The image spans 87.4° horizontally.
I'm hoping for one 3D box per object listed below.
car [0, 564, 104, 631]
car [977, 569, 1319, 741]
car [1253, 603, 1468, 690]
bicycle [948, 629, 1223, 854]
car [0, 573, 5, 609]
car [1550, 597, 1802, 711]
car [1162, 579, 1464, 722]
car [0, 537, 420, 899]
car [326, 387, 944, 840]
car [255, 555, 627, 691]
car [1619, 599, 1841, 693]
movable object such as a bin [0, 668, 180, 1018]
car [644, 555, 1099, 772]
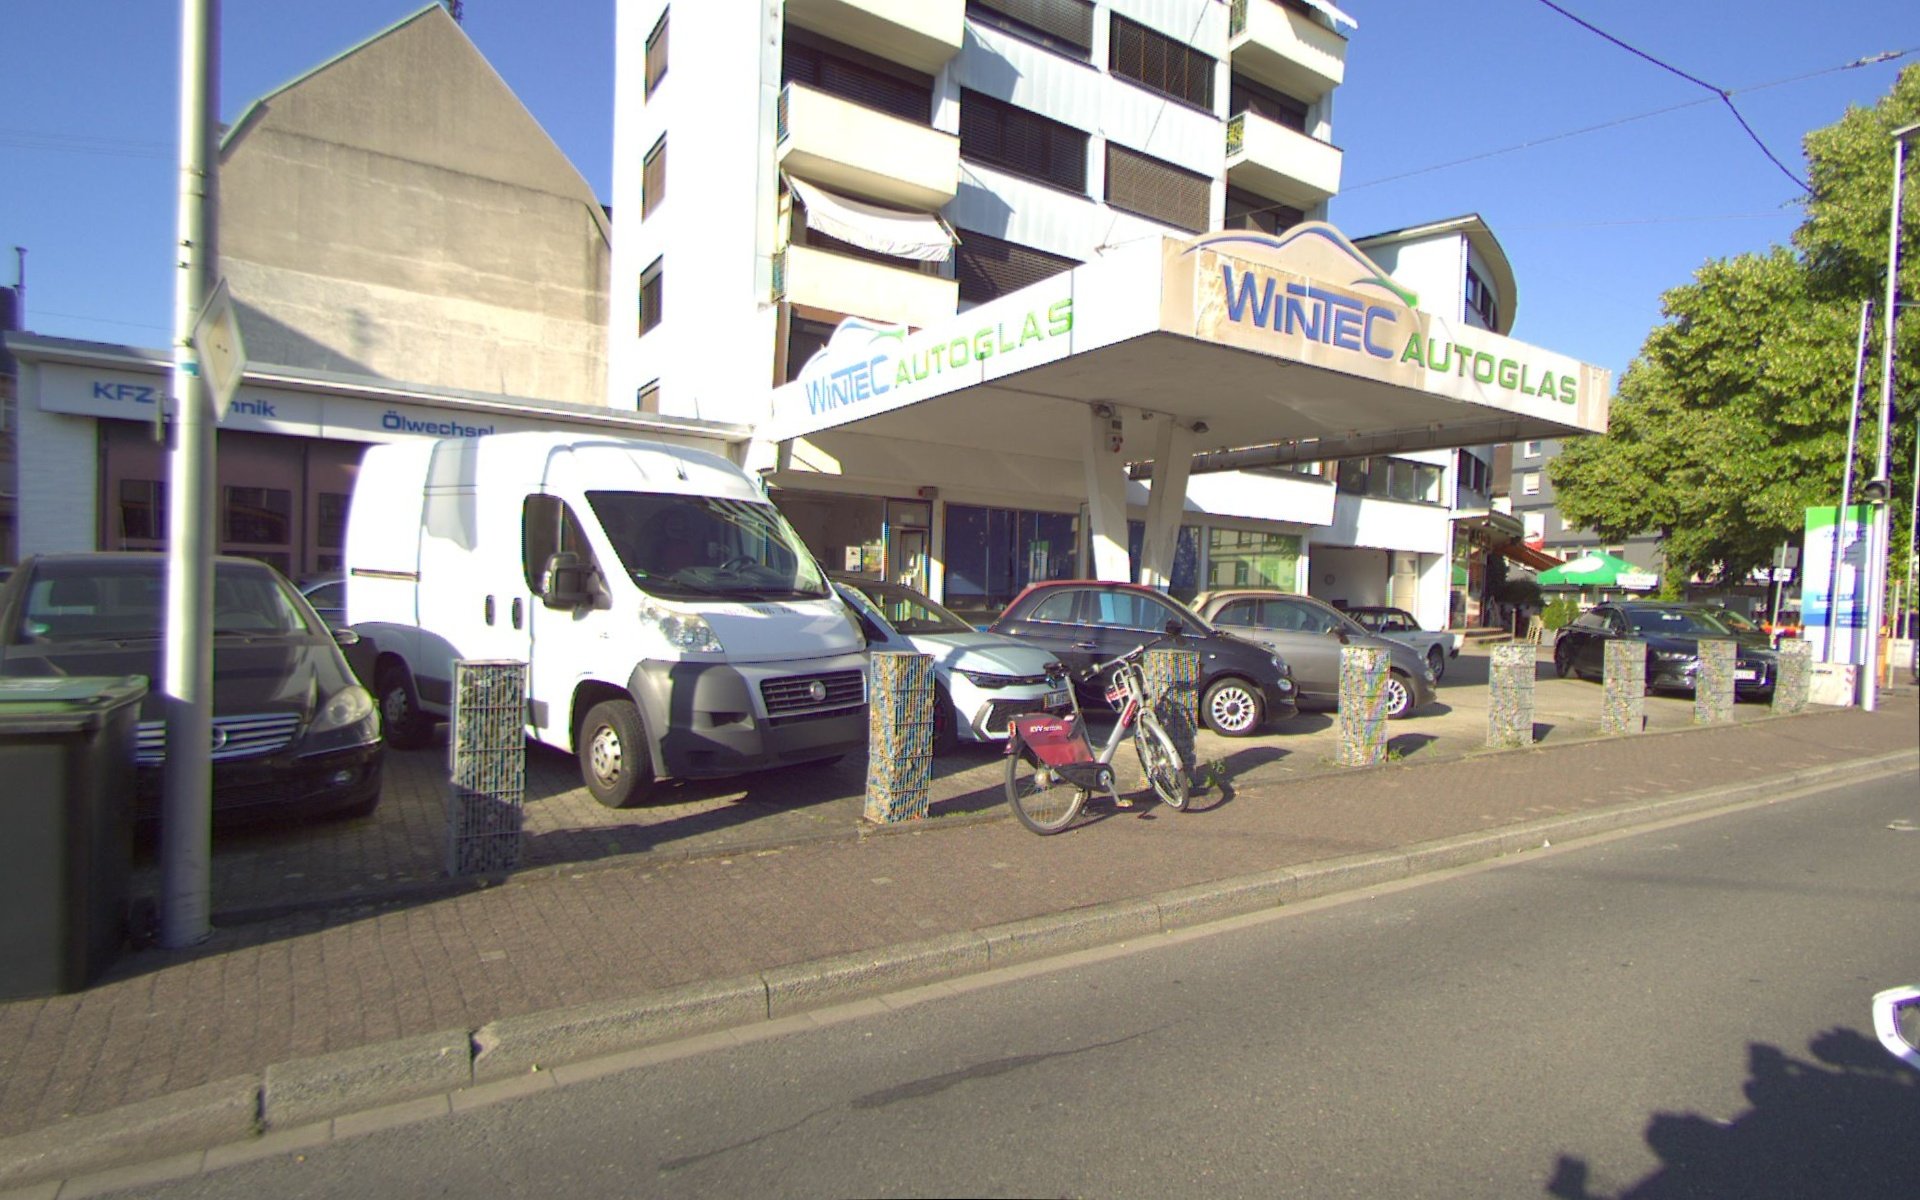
[{"bbox_3d":[-24.855,-0.104,27.072,1.979,1.545,3.965,6,-2,-31],"label":"car"},{"bbox_3d":[1.991,0.519,10.871,3.325,1.589,1.623,2,1,12],"label":"car"},{"bbox_3d":[7.076,0.732,17.607,4.099,1.301,1.575,0,2,-36],"label":"car"},{"bbox_3d":[0.834,0.796,6.348,1.767,1.193,0.716,1,1,-42],"label":"bicycle"},{"bbox_3d":[-39.202,-0.411,39.143,1.979,1.426,3.965,6,-2,-31],"label":"car"},{"bbox_3d":[11.523,0.761,16.575,1.872,1.474,4.314,2,2,14],"label":"car"},{"bbox_3d":[4.356,0.586,12.836,3.325,1.589,1.623,2,1,7],"label":"car"},{"bbox_3d":[-5.037,0.431,6.360,3.945,1.589,1.762,4,3,44],"label":"car"},{"bbox_3d":[-2.763,-0.010,7.891,4.990,2.503,2.101,3,2,37],"label":"car"},{"bbox_3d":[-6.950,0.259,13.685,4.270,1.589,1.756,1,2,-34],"label":"car"},{"bbox_3d":[14.775,0.796,19.599,1.617,1.474,4.301,2,2,11],"label":"car"},{"bbox_3d":[-3.291,0.828,3.593,0.571,1.084,0.639,-2,3,-20],"label":"movable object such as a bin"},{"bbox_3d":[-0.881,0.434,9.434,3.928,1.589,1.769,3,2,29],"label":"car"}]
